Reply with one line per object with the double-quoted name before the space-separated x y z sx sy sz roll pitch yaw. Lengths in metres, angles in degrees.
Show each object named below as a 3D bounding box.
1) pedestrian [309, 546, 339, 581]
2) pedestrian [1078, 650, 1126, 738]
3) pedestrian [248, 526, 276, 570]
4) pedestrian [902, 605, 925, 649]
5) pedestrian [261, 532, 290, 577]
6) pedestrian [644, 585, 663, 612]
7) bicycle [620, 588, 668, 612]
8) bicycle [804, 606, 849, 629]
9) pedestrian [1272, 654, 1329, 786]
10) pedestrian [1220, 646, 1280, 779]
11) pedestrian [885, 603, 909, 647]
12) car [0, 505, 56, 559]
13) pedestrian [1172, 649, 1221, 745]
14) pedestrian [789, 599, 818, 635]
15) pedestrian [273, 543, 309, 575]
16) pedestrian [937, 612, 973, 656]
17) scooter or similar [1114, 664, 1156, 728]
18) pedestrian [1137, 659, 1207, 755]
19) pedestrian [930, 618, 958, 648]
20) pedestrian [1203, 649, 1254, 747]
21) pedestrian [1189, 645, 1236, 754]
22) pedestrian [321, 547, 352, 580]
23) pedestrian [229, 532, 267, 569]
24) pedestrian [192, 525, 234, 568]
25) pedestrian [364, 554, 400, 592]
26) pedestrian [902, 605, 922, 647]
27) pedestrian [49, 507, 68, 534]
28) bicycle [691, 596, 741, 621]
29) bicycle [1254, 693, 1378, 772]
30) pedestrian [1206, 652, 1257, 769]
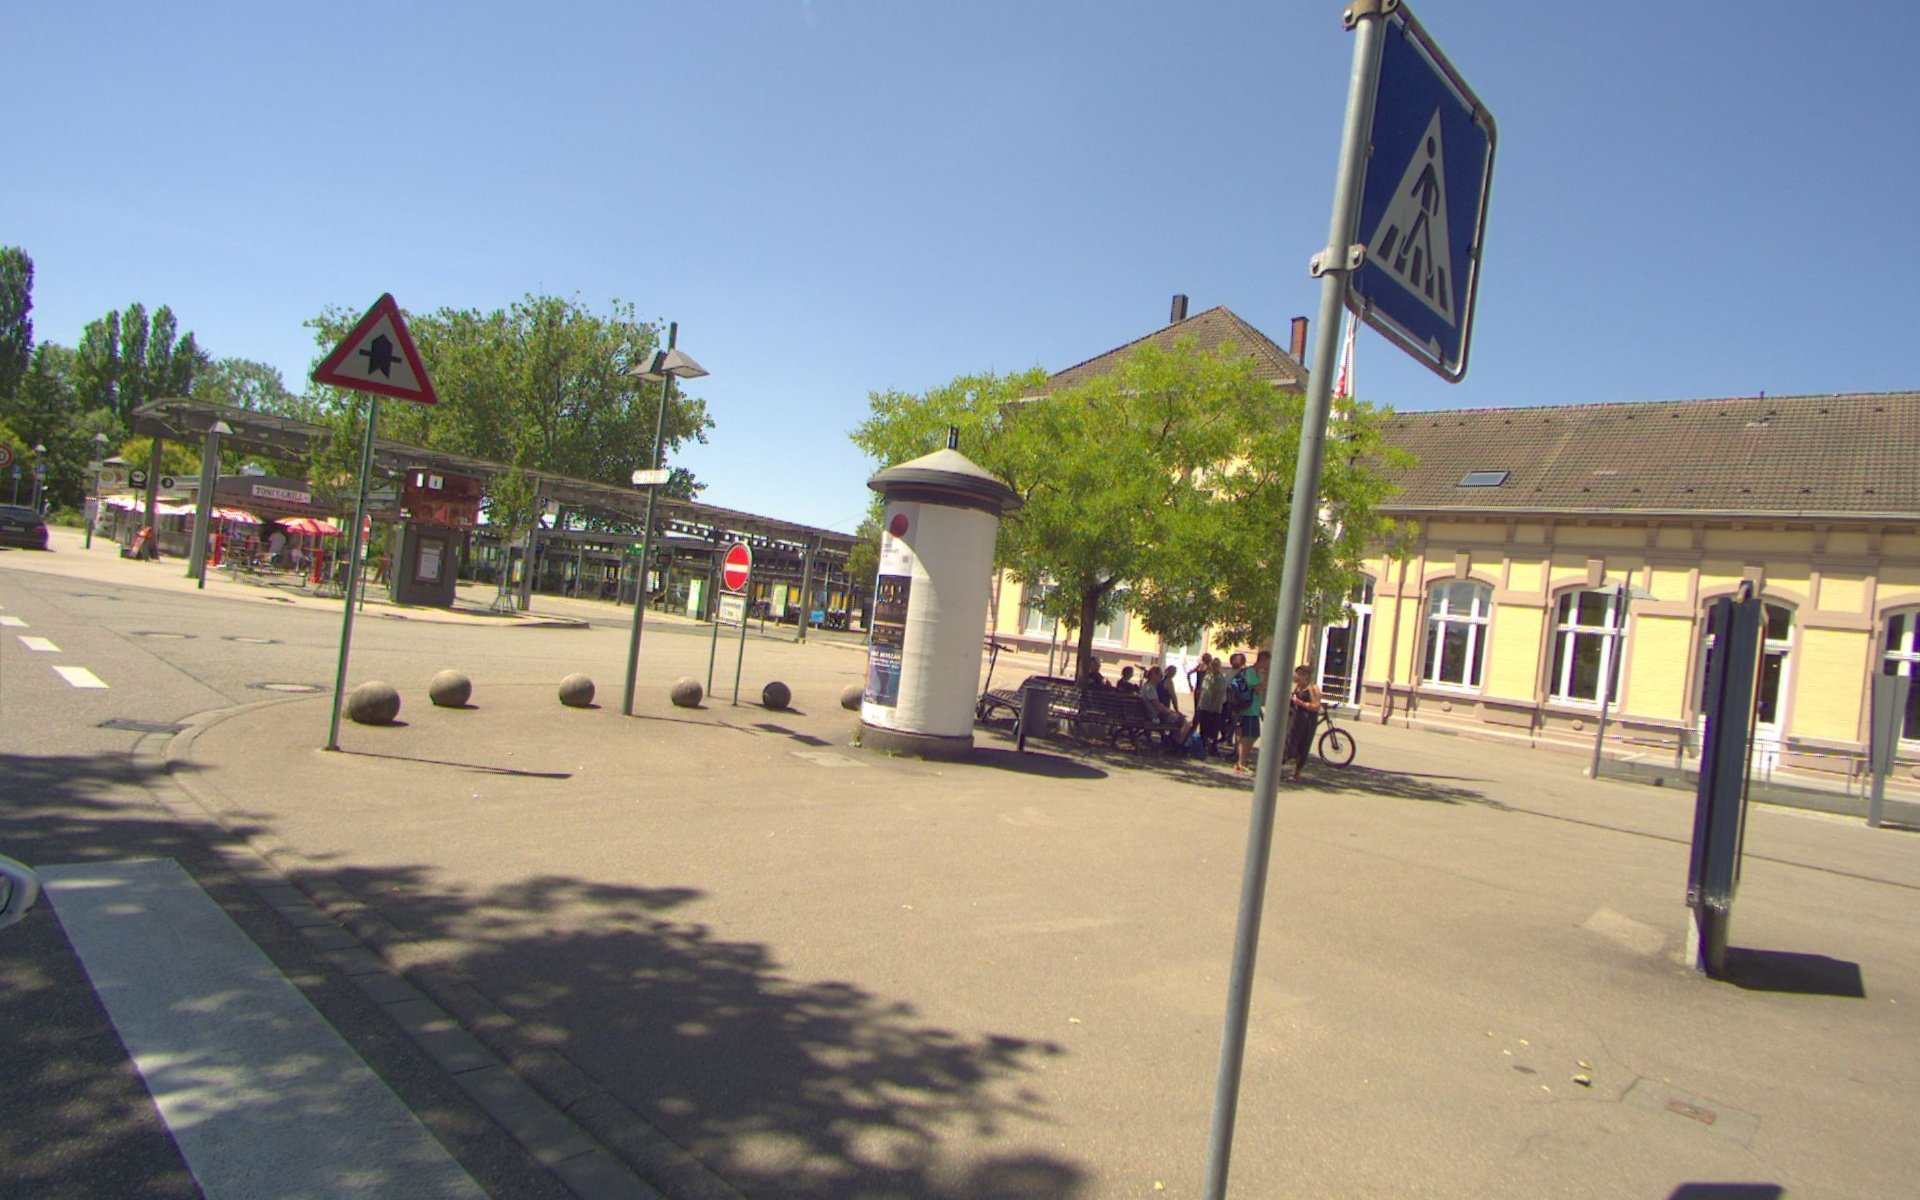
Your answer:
"pedestrian" -24.033 -1.374 37.987 0.684 1.175 0.884 8 -1 -44
"pedestrian" 2.399 1.577 16.972 0.588 1.381 0.600 7 0 13
"pedestrian" -29.635 -2.204 42.715 0.697 1.758 0.685 6 -1 41
"pedestrian" -2.081 1.190 44.693 0.624 1.831 0.592 7 0 -28
"pedestrian" -28.486 -1.889 41.850 0.697 1.758 0.685 5 -2 41
"pedestrian" -17.188 -0.070 56.418 0.667 1.412 0.624 6 0 41
"bicycle" -19.495 0.001 62.117 0.799 1.014 2.788 6 -4 39
"bicycle" -8.272 1.118 62.305 0.953 1.014 2.788 6 -4 39
"pedestrian" 4.809 1.671 14.232 0.537 1.760 0.628 7 0 16
"pedestrian" 4.141 1.583 14.393 0.574 1.785 0.694 7 0 12
"pedestrian" -2.775 1.101 44.355 0.682 1.831 0.627 7 0 -27
"car" -30.035 -2.223 31.529 4.658 1.479 1.923 6 1 41
"pedestrian" 4.436 1.815 18.877 0.577 1.705 0.554 7 0 29
"pedestrian" -7.691 0.847 49.465 0.842 1.609 0.924 7 0 32
"pedestrian" -27.005 -1.647 40.603 0.675 1.175 0.896 7 -1 7
"pedestrian" -0.224 1.607 47.636 1.067 1.869 1.079 7 -1 39
"scooter or similar" 3.355 1.839 19.239 0.289 1.153 1.026 6 -1 34
"pedestrian" 3.453 1.724 16.409 0.926 1.403 0.913 7 -1 12
"pedestrian" -0.777 1.609 48.901 0.959 1.370 1.051 4 0 20
"pedestrian" 4.920 1.793 18.441 0.581 1.705 0.618 7 0 29
"pedestrian" 4.296 1.687 17.127 0.560 1.760 0.512 7 0 12
"pedestrian" -25.773 -1.497 41.596 0.727 1.218 0.759 6 -3 41
"pedestrian" -28.010 -1.938 39.569 0.675 1.328 0.895 7 -1 7
"pedestrian" -27.786 -1.986 37.428 0.675 1.435 0.895 7 -1 4
"pedestrian" -21.703 -1.014 37.767 0.843 1.293 0.884 8 -1 -44
"pedestrian" -2.167 1.175 45.415 0.545 1.831 0.495 7 0 -28
"pedestrian" -69.408 -6.121 77.462 0.850 1.989 0.798 7 -1 -37
"bicycle" -13.973 0.504 57.599 0.799 1.014 2.788 6 -4 39
"bicycle" 6.219 2.298 17.646 1.920 1.073 0.420 6 -1 40
"pedestrian" 4.353 1.750 16.127 0.588 1.760 0.585 7 0 16
